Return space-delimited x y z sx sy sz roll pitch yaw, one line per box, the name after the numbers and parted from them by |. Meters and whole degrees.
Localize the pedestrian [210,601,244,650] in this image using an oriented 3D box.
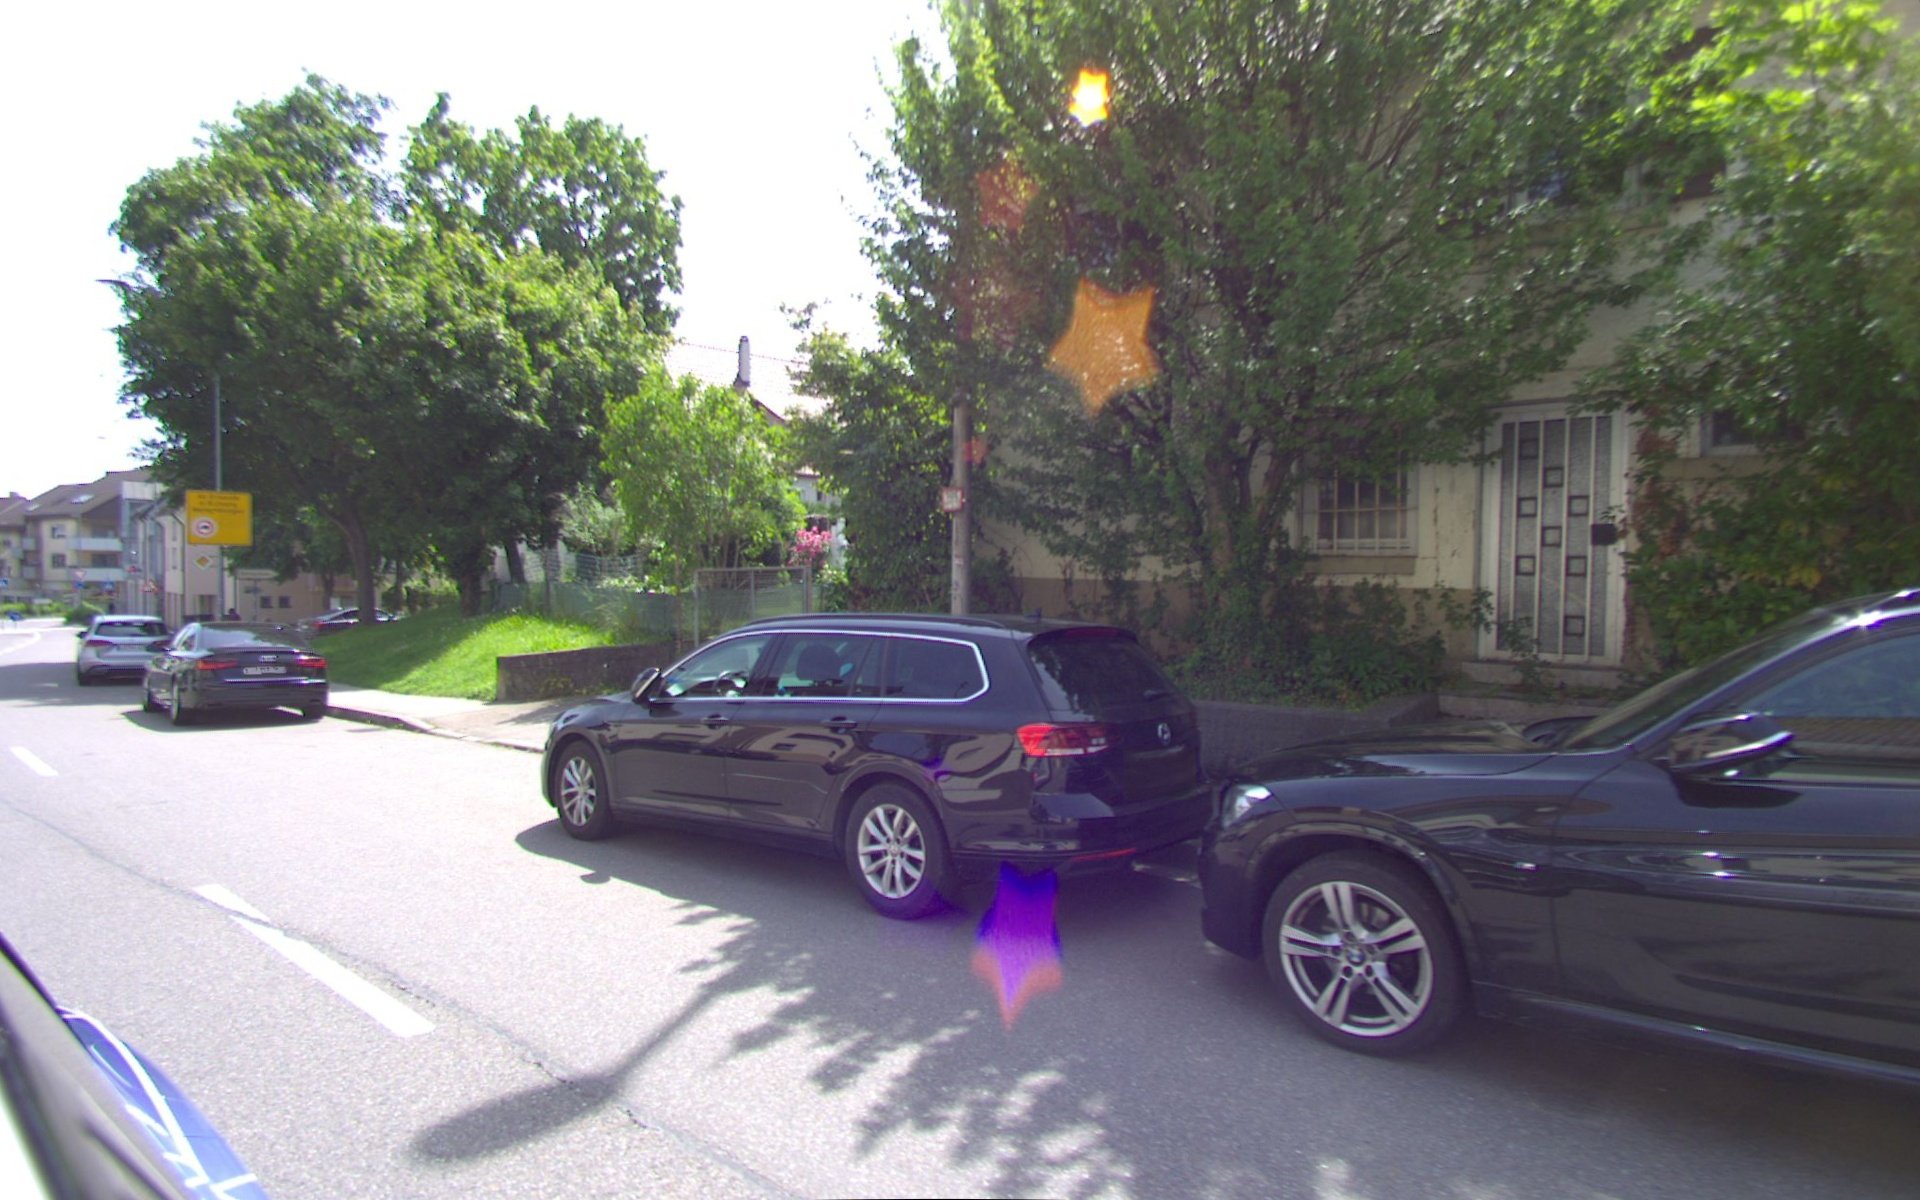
-25.012 0.871 34.551 0.626 1.628 0.726 -1 1 28 | pedestrian

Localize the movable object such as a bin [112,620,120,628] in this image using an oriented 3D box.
-66.022 1.859 79.168 0.468 0.586 0.453 0 1 41 | movable object such as a bin

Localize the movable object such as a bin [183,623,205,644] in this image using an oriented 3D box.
-38.465 1.672 50.844 0.841 1.008 0.695 -1 0 -40 | movable object such as a bin

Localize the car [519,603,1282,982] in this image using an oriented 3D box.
-0.674 0.791 6.148 4.708 1.474 1.770 -1 -1 40 | car

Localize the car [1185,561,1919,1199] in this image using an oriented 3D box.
2.977 0.676 2.819 4.300 1.532 1.736 -2 -2 43 | car

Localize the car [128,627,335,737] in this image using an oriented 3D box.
-11.412 1.163 15.702 4.930 1.434 1.784 -2 -3 45 | car

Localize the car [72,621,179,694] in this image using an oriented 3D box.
-19.625 1.289 23.732 1.751 1.539 4.227 2 -2 -41 | car

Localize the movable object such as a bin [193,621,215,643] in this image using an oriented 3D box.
-38.205 1.606 51.129 0.790 1.008 0.806 -3 2 -40 | movable object such as a bin

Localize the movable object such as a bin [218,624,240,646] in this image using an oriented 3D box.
-35.802 1.705 49.556 0.762 1.007 0.610 -5 5 -39 | movable object such as a bin

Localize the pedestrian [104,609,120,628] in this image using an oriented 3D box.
-66.422 1.424 79.276 0.956 1.489 0.792 0 1 40 | pedestrian

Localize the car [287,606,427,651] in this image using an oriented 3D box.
-25.626 1.166 43.211 1.991 1.490 4.745 -1 3 29 | car

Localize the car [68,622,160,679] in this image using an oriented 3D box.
-23.945 1.368 28.579 1.734 1.478 4.367 2 -2 -43 | car

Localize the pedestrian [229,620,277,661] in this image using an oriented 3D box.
-23.389 1.333 33.475 1.220 1.278 0.648 -2 1 -39 | pedestrian
